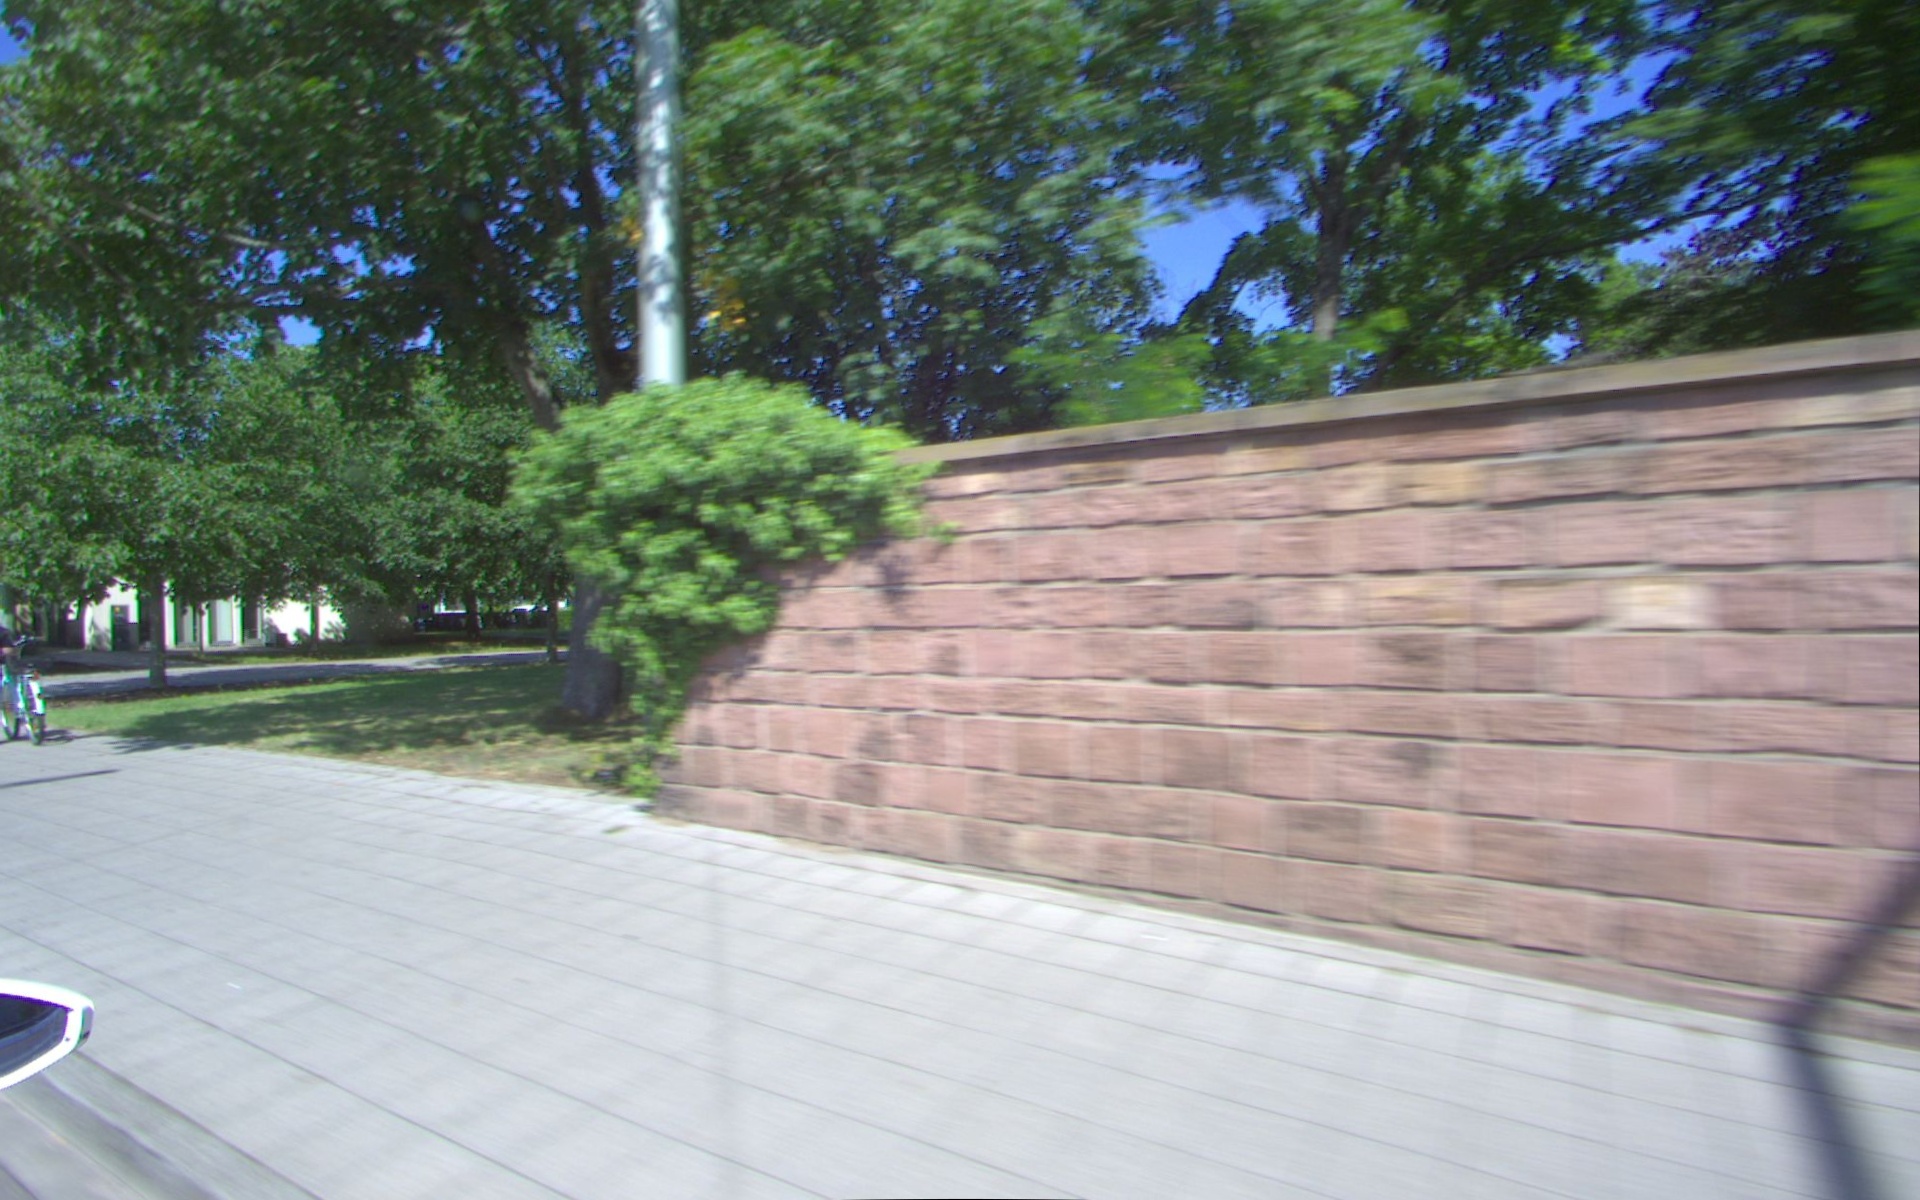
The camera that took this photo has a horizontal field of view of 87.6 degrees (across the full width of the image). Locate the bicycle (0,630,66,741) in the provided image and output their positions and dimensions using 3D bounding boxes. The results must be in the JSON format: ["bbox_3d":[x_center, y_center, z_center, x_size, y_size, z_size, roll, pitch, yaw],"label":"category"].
[{"bbox_3d":[-10.417,0.906,11.120,1.787,1.126,0.533,-1,1,43],"label":"bicycle"}]

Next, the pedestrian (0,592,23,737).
[{"bbox_3d":[-10.797,0.711,10.977,0.653,1.570,0.539,0,3,32],"label":"pedestrian"}]
